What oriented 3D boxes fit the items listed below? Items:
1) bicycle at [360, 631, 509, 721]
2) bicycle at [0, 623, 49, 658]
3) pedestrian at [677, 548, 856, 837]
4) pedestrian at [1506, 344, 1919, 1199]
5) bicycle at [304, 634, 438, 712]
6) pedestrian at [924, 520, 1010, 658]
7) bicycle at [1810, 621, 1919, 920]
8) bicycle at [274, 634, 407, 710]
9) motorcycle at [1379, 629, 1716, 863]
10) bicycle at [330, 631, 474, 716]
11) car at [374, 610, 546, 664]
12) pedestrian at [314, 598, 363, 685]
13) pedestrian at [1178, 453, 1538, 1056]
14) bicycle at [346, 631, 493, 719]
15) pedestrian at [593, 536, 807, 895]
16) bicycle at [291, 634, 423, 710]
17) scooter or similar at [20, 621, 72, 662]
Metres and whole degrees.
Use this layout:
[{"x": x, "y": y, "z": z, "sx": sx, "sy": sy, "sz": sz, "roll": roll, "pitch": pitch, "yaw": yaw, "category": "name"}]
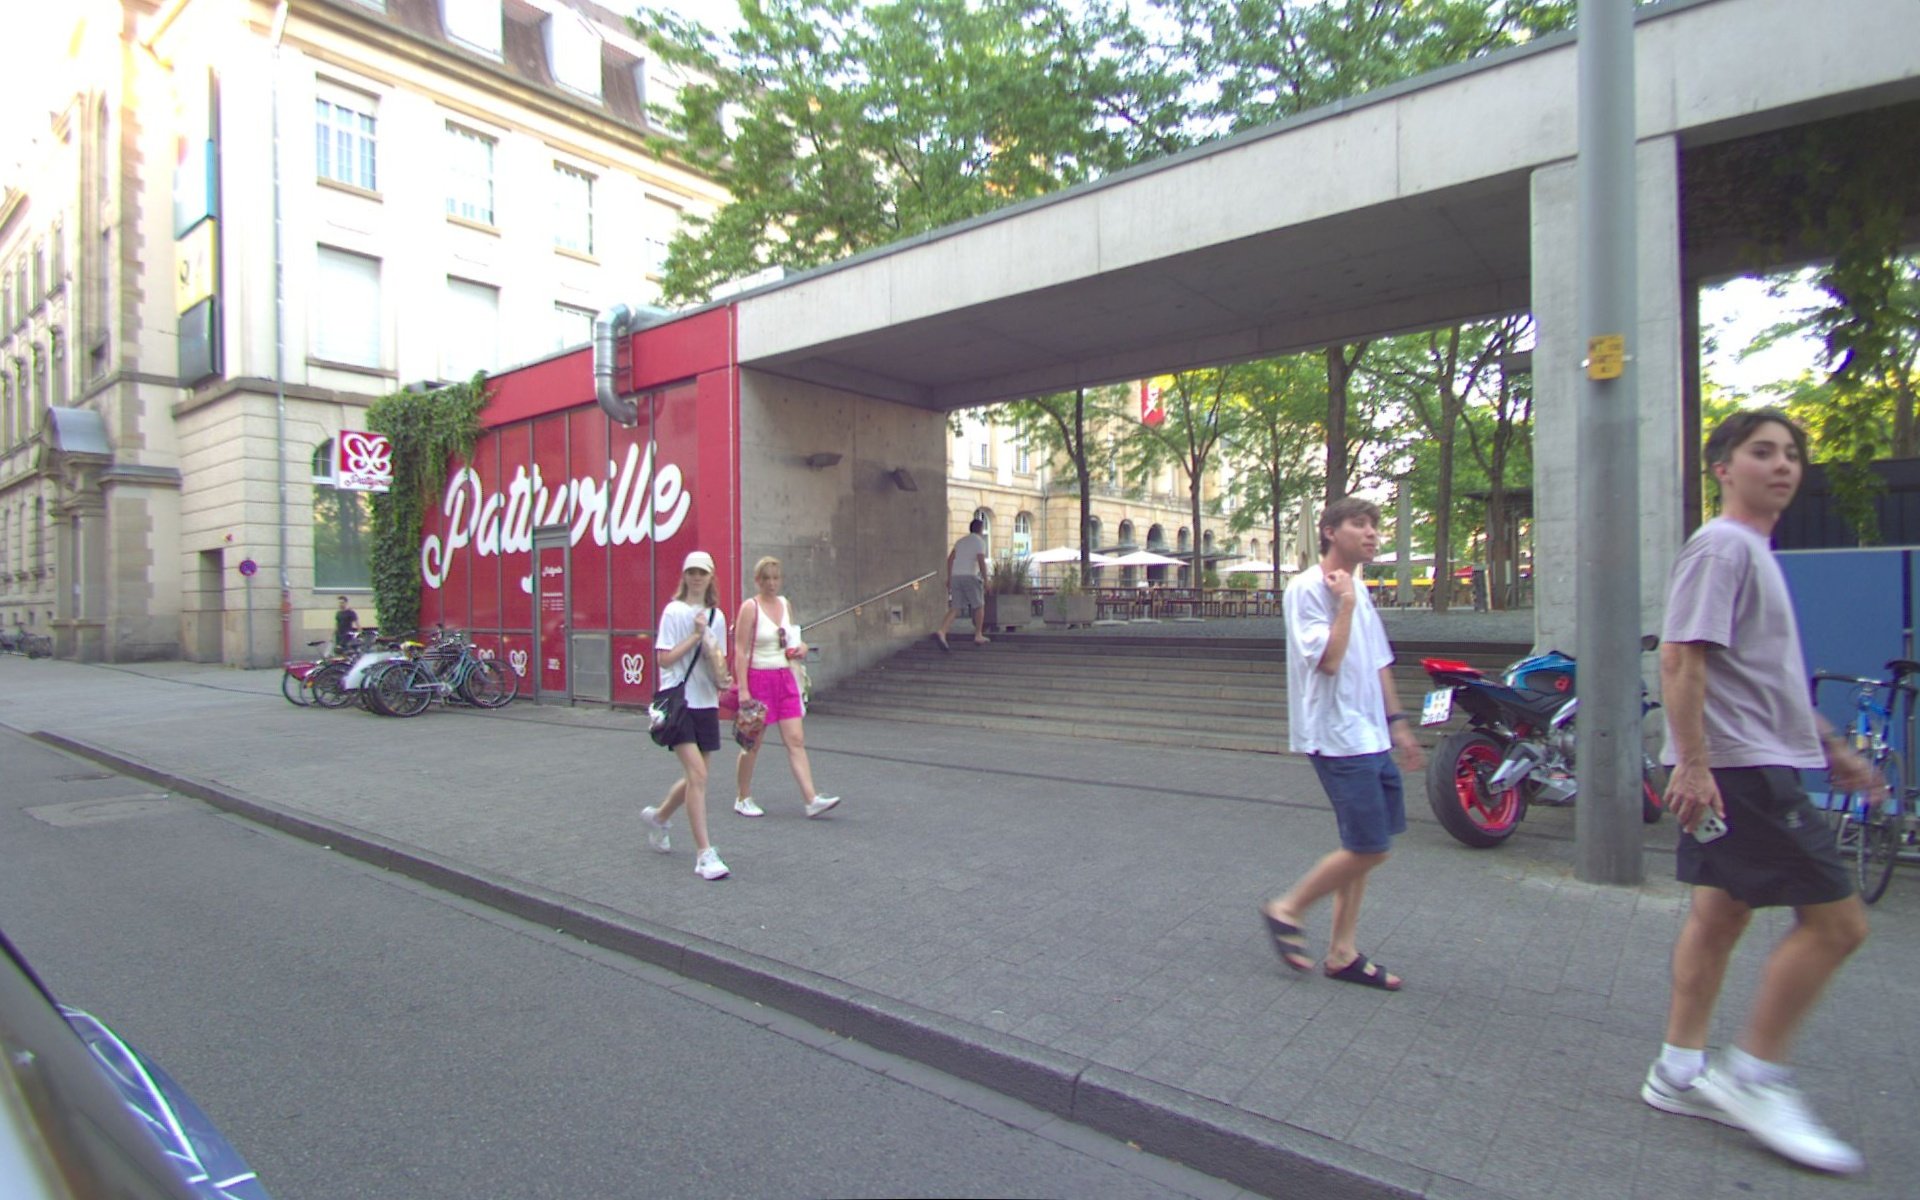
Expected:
[{"x": -7.361, "y": 1.031, "z": 14.242, "sx": 0.500, "sy": 1.116, "sz": 1.775, "roll": -1, "pitch": 0, "yaw": 42, "category": "bicycle"}, {"x": -32.280, "y": 1.381, "z": 34.334, "sx": 0.616, "sy": 1.069, "sz": 1.928, "roll": -1, "pitch": 3, "yaw": 24, "category": "bicycle"}, {"x": -1.281, "y": 0.562, "z": 6.712, "sx": 0.845, "sy": 1.763, "sz": 0.745, "roll": -2, "pitch": 0, "yaw": 39, "category": "pedestrian"}, {"x": 2.069, "y": 0.417, "z": 2.548, "sx": 1.049, "sy": 1.908, "sz": 0.736, "roll": -2, "pitch": 0, "yaw": 40, "category": "pedestrian"}, {"x": -9.357, "y": 1.134, "z": 16.130, "sx": 0.499, "sy": 1.116, "sz": 1.777, "roll": -2, "pitch": 0, "yaw": 38, "category": "bicycle"}, {"x": 0.097, "y": -0.144, "z": 13.519, "sx": 0.719, "sy": 1.767, "sz": 0.836, "roll": -2, "pitch": -1, "yaw": 43, "category": "pedestrian"}, {"x": 4.384, "y": 0.699, "z": 4.762, "sx": 0.499, "sy": 1.116, "sz": 1.777, "roll": -1, "pitch": 1, "yaw": 38, "category": "bicycle"}, {"x": -10.119, "y": 1.150, "z": 16.587, "sx": 0.499, "sy": 1.116, "sz": 1.777, "roll": -2, "pitch": 0, "yaw": 39, "category": "bicycle"}, {"x": 3.351, "y": 0.747, "z": 5.761, "sx": 1.775, "sy": 1.072, "sz": 0.767, "roll": -2, "pitch": 0, "yaw": -25, "category": "motorcycle"}, {"x": -8.206, "y": 1.049, "z": 14.949, "sx": 0.500, "sy": 1.116, "sz": 1.775, "roll": -1, "pitch": 0, "yaw": 42, "category": "bicycle"}, {"x": -13.816, "y": 0.995, "z": 28.137, "sx": 1.748, "sy": 1.381, "sz": 3.967, "roll": -2, "pitch": -1, "yaw": 38, "category": "car"}, {"x": -13.671, "y": 0.905, "z": 22.286, "sx": 0.629, "sy": 1.870, "sz": 0.614, "roll": -2, "pitch": 0, "yaw": 12, "category": "pedestrian"}, {"x": 1.439, "y": 0.469, "z": 3.670, "sx": 1.007, "sy": 1.826, "sz": 0.734, "roll": -2, "pitch": 0, "yaw": 39, "category": "pedestrian"}, {"x": -7.727, "y": 1.039, "z": 14.535, "sx": 0.500, "sy": 1.116, "sz": 1.775, "roll": -1, "pitch": 0, "yaw": 42, "category": "bicycle"}, {"x": -1.432, "y": 0.575, "z": 5.542, "sx": 0.984, "sy": 1.763, "sz": 0.643, "roll": -2, "pitch": -1, "yaw": 39, "category": "pedestrian"}, {"x": -9.772, "y": 1.139, "z": 16.467, "sx": 0.499, "sy": 1.116, "sz": 1.777, "roll": -2, "pitch": 0, "yaw": 38, "category": "bicycle"}, {"x": -29.108, "y": 1.317, "z": 32.241, "sx": 0.494, "sy": 1.242, "sz": 1.126, "roll": -2, "pitch": 0, "yaw": 27, "category": "scooter or similar"}]
